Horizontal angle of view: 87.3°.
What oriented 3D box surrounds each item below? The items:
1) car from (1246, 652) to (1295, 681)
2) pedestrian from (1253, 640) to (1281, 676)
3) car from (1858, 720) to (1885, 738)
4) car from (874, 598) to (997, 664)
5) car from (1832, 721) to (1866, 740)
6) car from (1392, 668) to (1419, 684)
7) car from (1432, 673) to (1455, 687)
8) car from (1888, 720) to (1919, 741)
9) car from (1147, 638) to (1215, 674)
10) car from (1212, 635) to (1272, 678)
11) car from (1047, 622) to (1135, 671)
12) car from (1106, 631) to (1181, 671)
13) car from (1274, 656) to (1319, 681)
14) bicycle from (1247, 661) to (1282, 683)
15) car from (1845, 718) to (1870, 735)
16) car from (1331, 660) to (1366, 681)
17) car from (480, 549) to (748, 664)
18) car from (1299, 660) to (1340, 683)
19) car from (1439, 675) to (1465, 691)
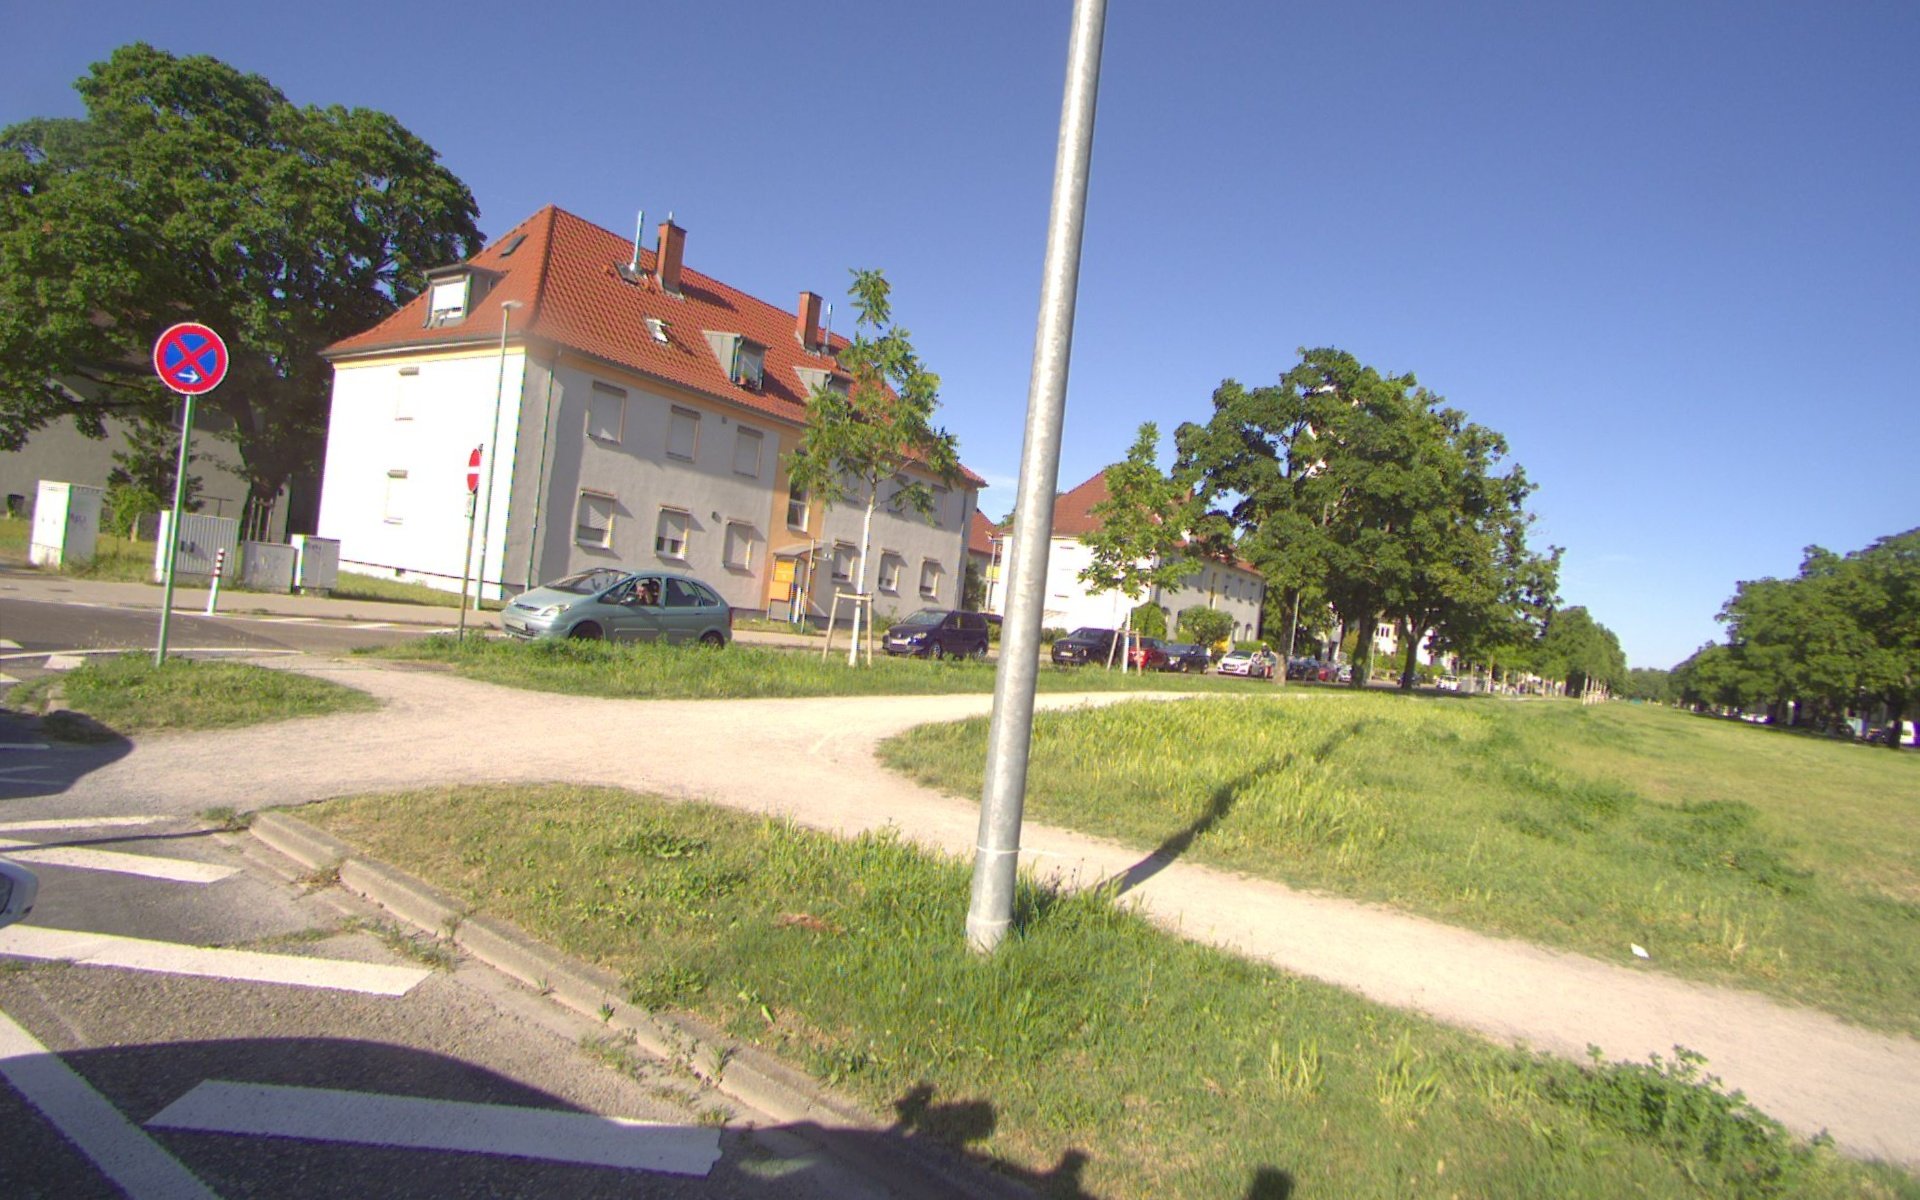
[{"bbox_3d":[19.092,4.096,61.744,1.694,1.517,3.798,7,0,35],"label":"car"},{"bbox_3d":[15.812,2.994,51.798,1.036,1.730,0.692,7,1,30],"label":"pedestrian"},{"bbox_3d":[110.320,15.596,121.768,1.837,1.868,3.982,7,0,36],"label":"car"},{"bbox_3d":[-0.709,1.020,31.972,1.694,1.684,4.053,7,0,35],"label":"car"},{"bbox_3d":[93.418,13.703,105.720,2.049,1.484,4.713,7,0,36],"label":"car"},{"bbox_3d":[43.842,7.492,98.983,1.694,1.358,3.798,7,0,35],"label":"car"},{"bbox_3d":[56.628,9.317,117.791,1.694,1.358,3.798,7,0,35],"label":"car"},{"bbox_3d":[103.587,14.327,110.473,1.837,1.868,3.982,7,0,36],"label":"car"},{"bbox_3d":[10.901,2.779,49.491,1.694,1.459,4.129,7,0,35],"label":"car"},{"bbox_3d":[16.071,3.235,57.197,1.842,2.038,4.244,7,0,35],"label":"car"},{"bbox_3d":[5.364,1.912,40.876,1.694,1.602,4.129,7,0,35],"label":"car"},{"bbox_3d":[8.393,2.354,45.698,1.694,1.459,4.129,7,0,35],"label":"car"},{"bbox_3d":[22.077,4.510,65.930,1.694,1.358,3.798,7,0,35],"label":"car"},{"bbox_3d":[15.675,3.714,51.723,1.036,0.949,2.759,7,0,30],"label":"bicycle"},{"bbox_3d":[119.236,16.773,133.725,1.837,1.868,3.982,7,0,36],"label":"car"},{"bbox_3d":[31.042,5.612,80.324,1.694,1.358,3.798,7,0,35],"label":"car"},{"bbox_3d":[-6.169,0.184,18.395,1.859,1.628,4.235,7,0,35],"label":"car"},{"bbox_3d":[25.428,5.055,71.011,1.694,1.358,3.798,7,0,35],"label":"car"},{"bbox_3d":[49.214,8.335,100.649,1.694,1.358,3.798,7,0,35],"label":"car"}]
